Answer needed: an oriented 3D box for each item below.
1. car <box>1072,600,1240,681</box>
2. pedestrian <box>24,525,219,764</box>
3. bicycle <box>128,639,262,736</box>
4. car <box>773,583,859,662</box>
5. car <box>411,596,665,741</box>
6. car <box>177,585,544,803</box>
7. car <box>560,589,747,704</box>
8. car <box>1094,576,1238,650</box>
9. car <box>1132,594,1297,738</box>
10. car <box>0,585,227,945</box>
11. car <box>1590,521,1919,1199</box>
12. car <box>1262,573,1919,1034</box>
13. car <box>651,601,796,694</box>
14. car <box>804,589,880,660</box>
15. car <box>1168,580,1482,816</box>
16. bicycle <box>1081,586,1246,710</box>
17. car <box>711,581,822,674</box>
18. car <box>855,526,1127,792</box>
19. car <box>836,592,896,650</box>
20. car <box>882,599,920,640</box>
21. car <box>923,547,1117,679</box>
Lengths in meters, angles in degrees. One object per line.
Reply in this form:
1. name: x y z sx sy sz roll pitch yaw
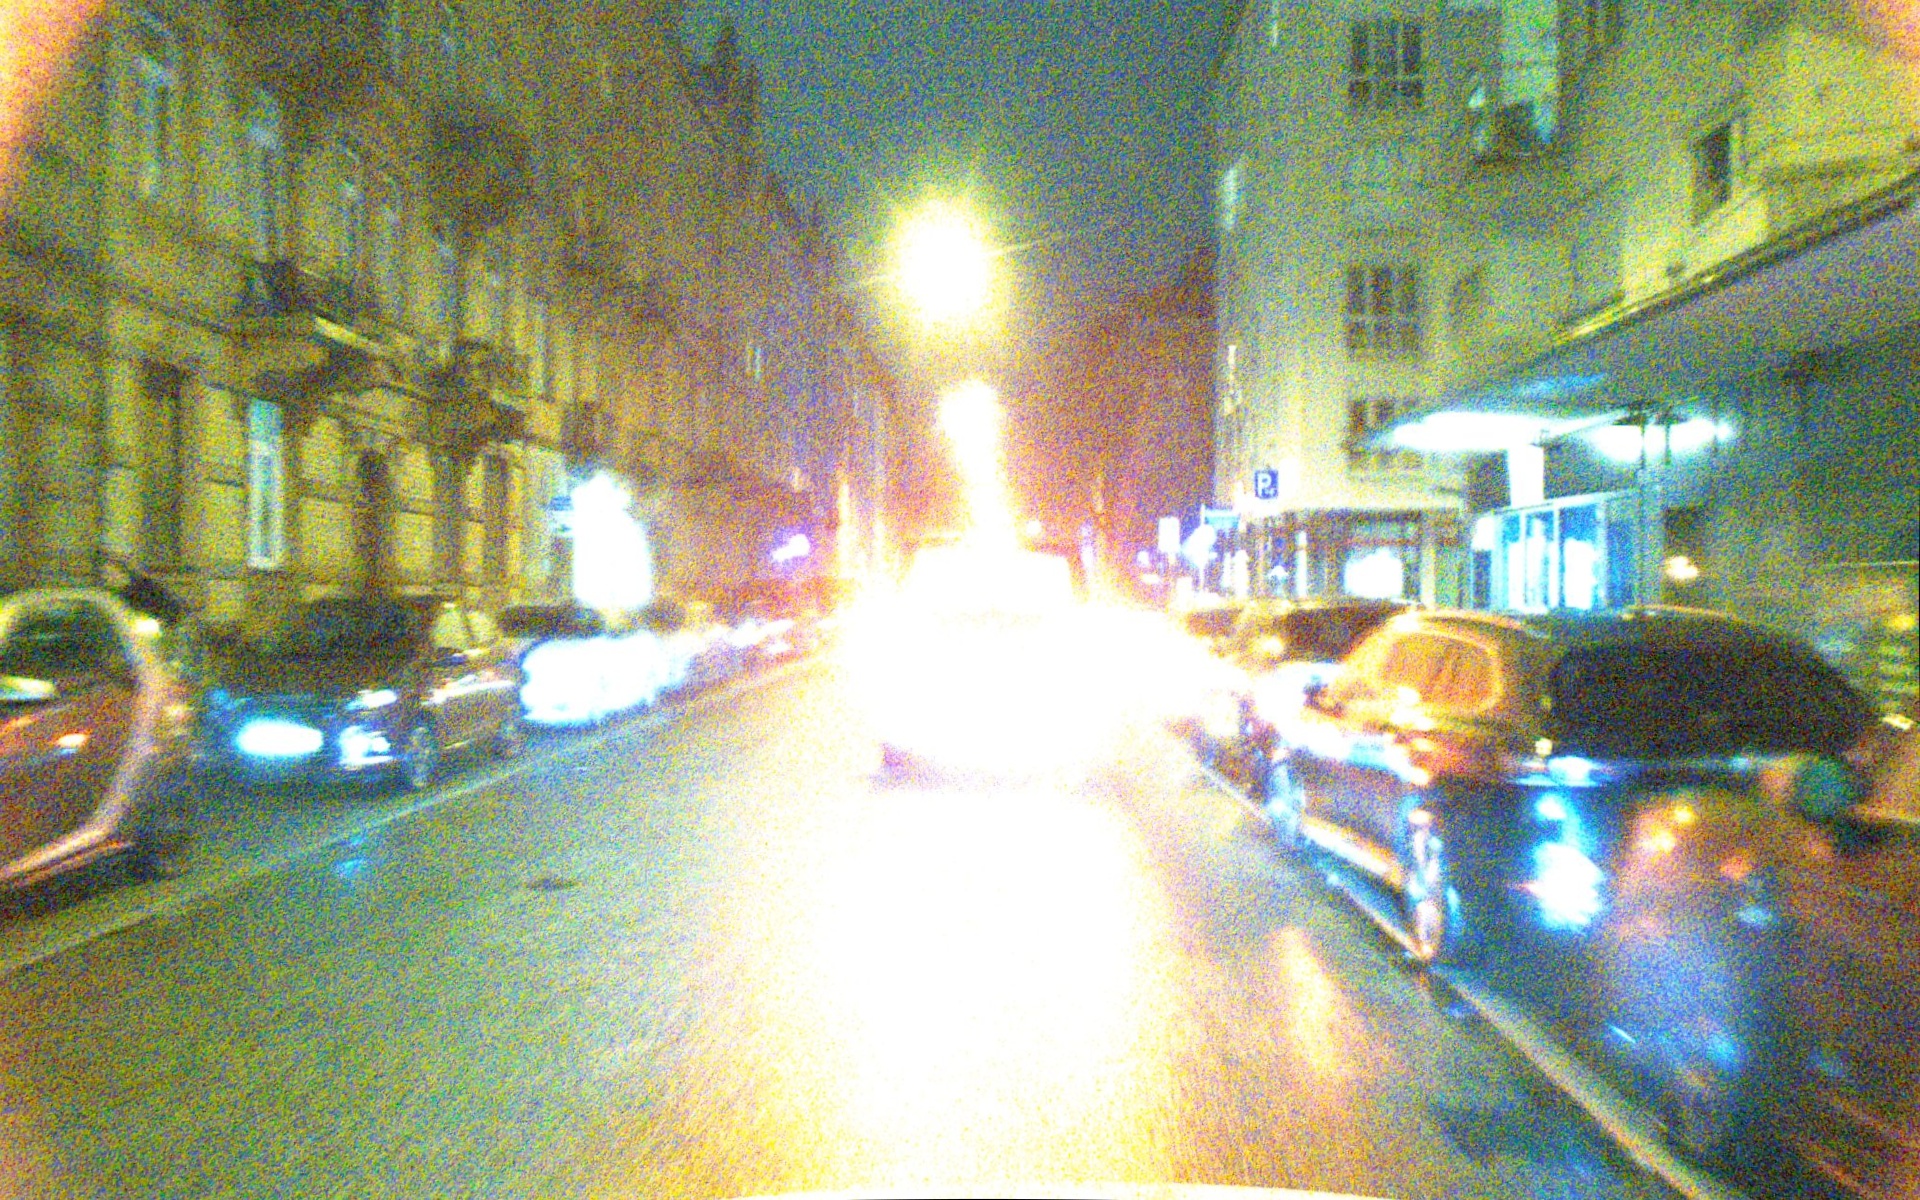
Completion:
1. car: 5.088 1.056 43.227 3.921 2.049 1.992 0 -2 -16
2. pedestrian: -7.038 0.361 13.934 1.010 1.897 0.978 2 -1 7
3. bicycle: -8.151 0.908 17.704 0.439 0.975 2.014 0 -2 2
4. car: -3.970 0.615 46.141 1.953 2.049 4.000 2 0 0
5. car: -4.666 0.689 18.916 1.655 1.425 4.318 1 0 2
6. car: -4.610 0.647 13.255 1.553 1.474 3.504 1 0 2
7. car: -4.457 0.621 24.764 1.717 1.474 4.624 3 0 2
8. car: 5.808 0.369 47.064 3.904 2.049 2.000 0 0 2
9. car: 3.036 0.771 20.278 1.559 1.570 3.420 2 -1 2
10. car: -4.878 0.701 7.749 1.553 1.536 2.788 1 0 2
11. car: 2.852 0.651 3.129 1.717 1.593 4.154 2 -1 0
12. car: 2.738 0.748 7.991 1.717 1.565 4.397 2 -1 0
13. car: -4.135 0.809 29.532 1.953 1.474 4.000 2 0 0
14. car: -3.663 0.754 51.880 1.952 2.049 4.000 2 0 1
15. car: 2.862 0.729 13.831 1.717 1.636 3.989 2 -1 0
16. bicycle: 2.984 0.707 24.476 2.272 1.667 0.888 -3 -1 2
17. car: -4.269 0.592 37.036 1.953 1.895 4.093 2 0 0
18. car: 0.241 0.455 15.123 2.079 2.026 4.600 1 0 0
19. car: -3.570 0.792 63.290 1.952 2.049 4.000 2 0 1
20. car: -3.107 1.045 87.486 1.713 2.049 4.000 2 0 1
21. car: 1.116 0.191 27.482 2.078 1.956 4.829 1 0 16
